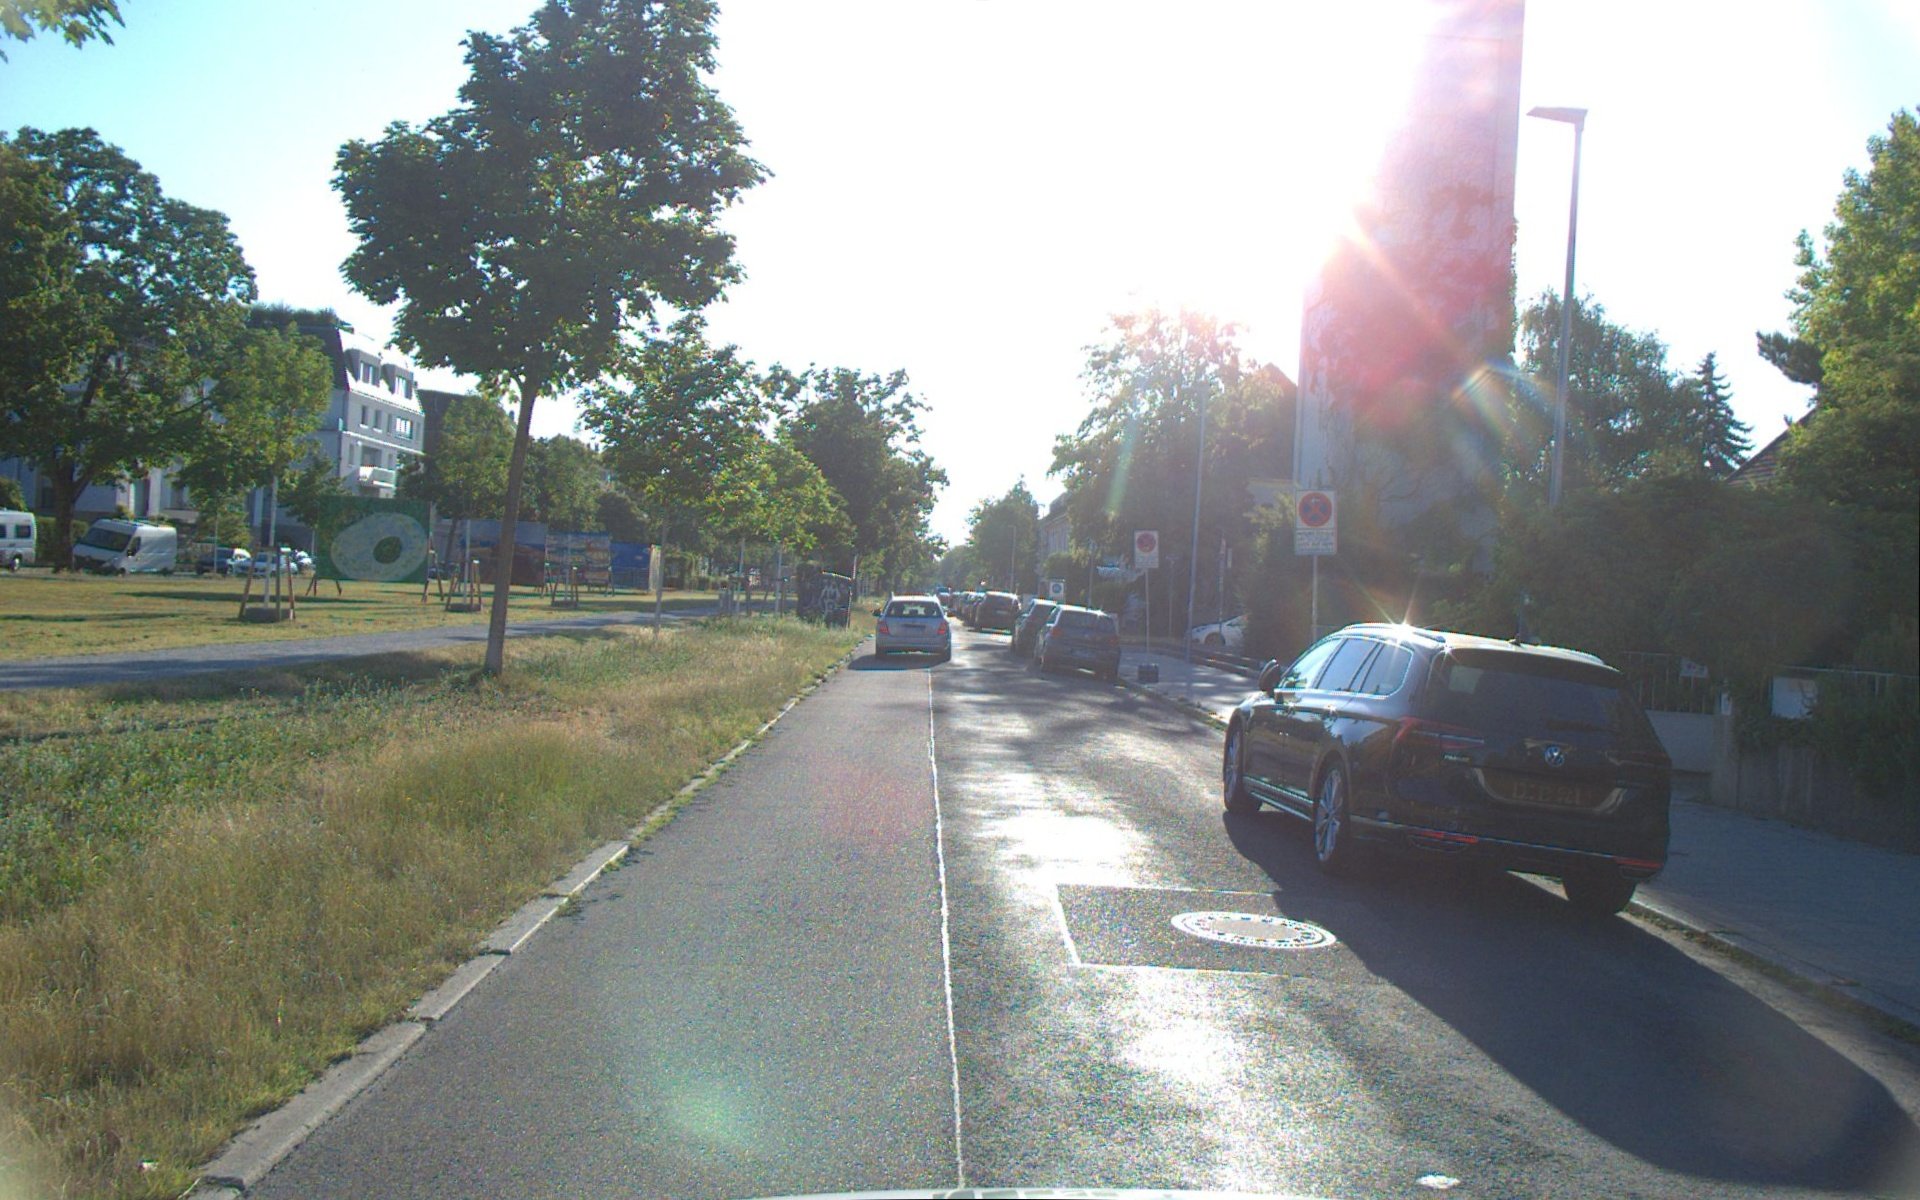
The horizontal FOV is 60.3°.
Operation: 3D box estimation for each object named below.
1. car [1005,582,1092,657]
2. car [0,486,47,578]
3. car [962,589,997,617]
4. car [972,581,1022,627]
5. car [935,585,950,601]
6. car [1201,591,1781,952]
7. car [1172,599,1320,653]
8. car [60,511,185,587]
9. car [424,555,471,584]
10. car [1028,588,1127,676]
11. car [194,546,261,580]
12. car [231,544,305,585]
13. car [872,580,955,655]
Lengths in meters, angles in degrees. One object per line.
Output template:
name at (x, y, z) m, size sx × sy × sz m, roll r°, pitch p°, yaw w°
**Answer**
car at (2.255, 0.460, 43.302) m, size 1.787 × 1.587 × 4.621 m, roll 9°, pitch 1°, yaw -1°
car at (-40.015, -2.785, 67.145) m, size 2.256 × 3.621 × 6.763 m, roll 0°, pitch -1°, yaw -1°
car at (1.167, 0.176, 99.438) m, size 1.953 × 1.487 × 4.561 m, roll 5°, pitch 0°, yaw 0°
car at (1.562, 0.178, 71.654) m, size 1.796 × 1.761 × 5.030 m, roll 5°, pitch 0°, yaw -2°
car at (-2.398, -1.002, 228.090) m, size 1.948 × 2.058 × 3.999 m, roll 3°, pitch 0°, yaw -1°
car at (3.103, 0.900, 10.961) m, size 1.955 × 1.624 × 4.884 m, roll 7°, pitch -1°, yaw -2°
car at (9.967, 0.932, 57.909) m, size 4.750 × 1.512 × 2.001 m, roll 4°, pitch -3°, yaw -2°
car at (-34.400, -2.030, 68.178) m, size 2.214 × 2.875 × 5.870 m, roll 0°, pitch -1°, yaw -1°
car at (-35.437, -2.089, 114.523) m, size 1.889 × 1.860 × 4.690 m, roll 0°, pitch -1°, yaw -1°
car at (2.511, 0.654, 36.321) m, size 1.654 × 1.553 × 4.174 m, roll 7°, pitch 1°, yaw -1°
car at (-40.785, -2.052, 92.158) m, size 1.746 × 1.732 × 4.665 m, roll 0°, pitch -1°, yaw -1°
car at (-35.021, -1.759, 83.795) m, size 1.796 × 1.932 × 4.642 m, roll 0°, pitch -1°, yaw 0°
car at (-1.047, 0.374, 38.642) m, size 1.786 × 1.594 × 4.000 m, roll 2°, pitch 1°, yaw -1°
